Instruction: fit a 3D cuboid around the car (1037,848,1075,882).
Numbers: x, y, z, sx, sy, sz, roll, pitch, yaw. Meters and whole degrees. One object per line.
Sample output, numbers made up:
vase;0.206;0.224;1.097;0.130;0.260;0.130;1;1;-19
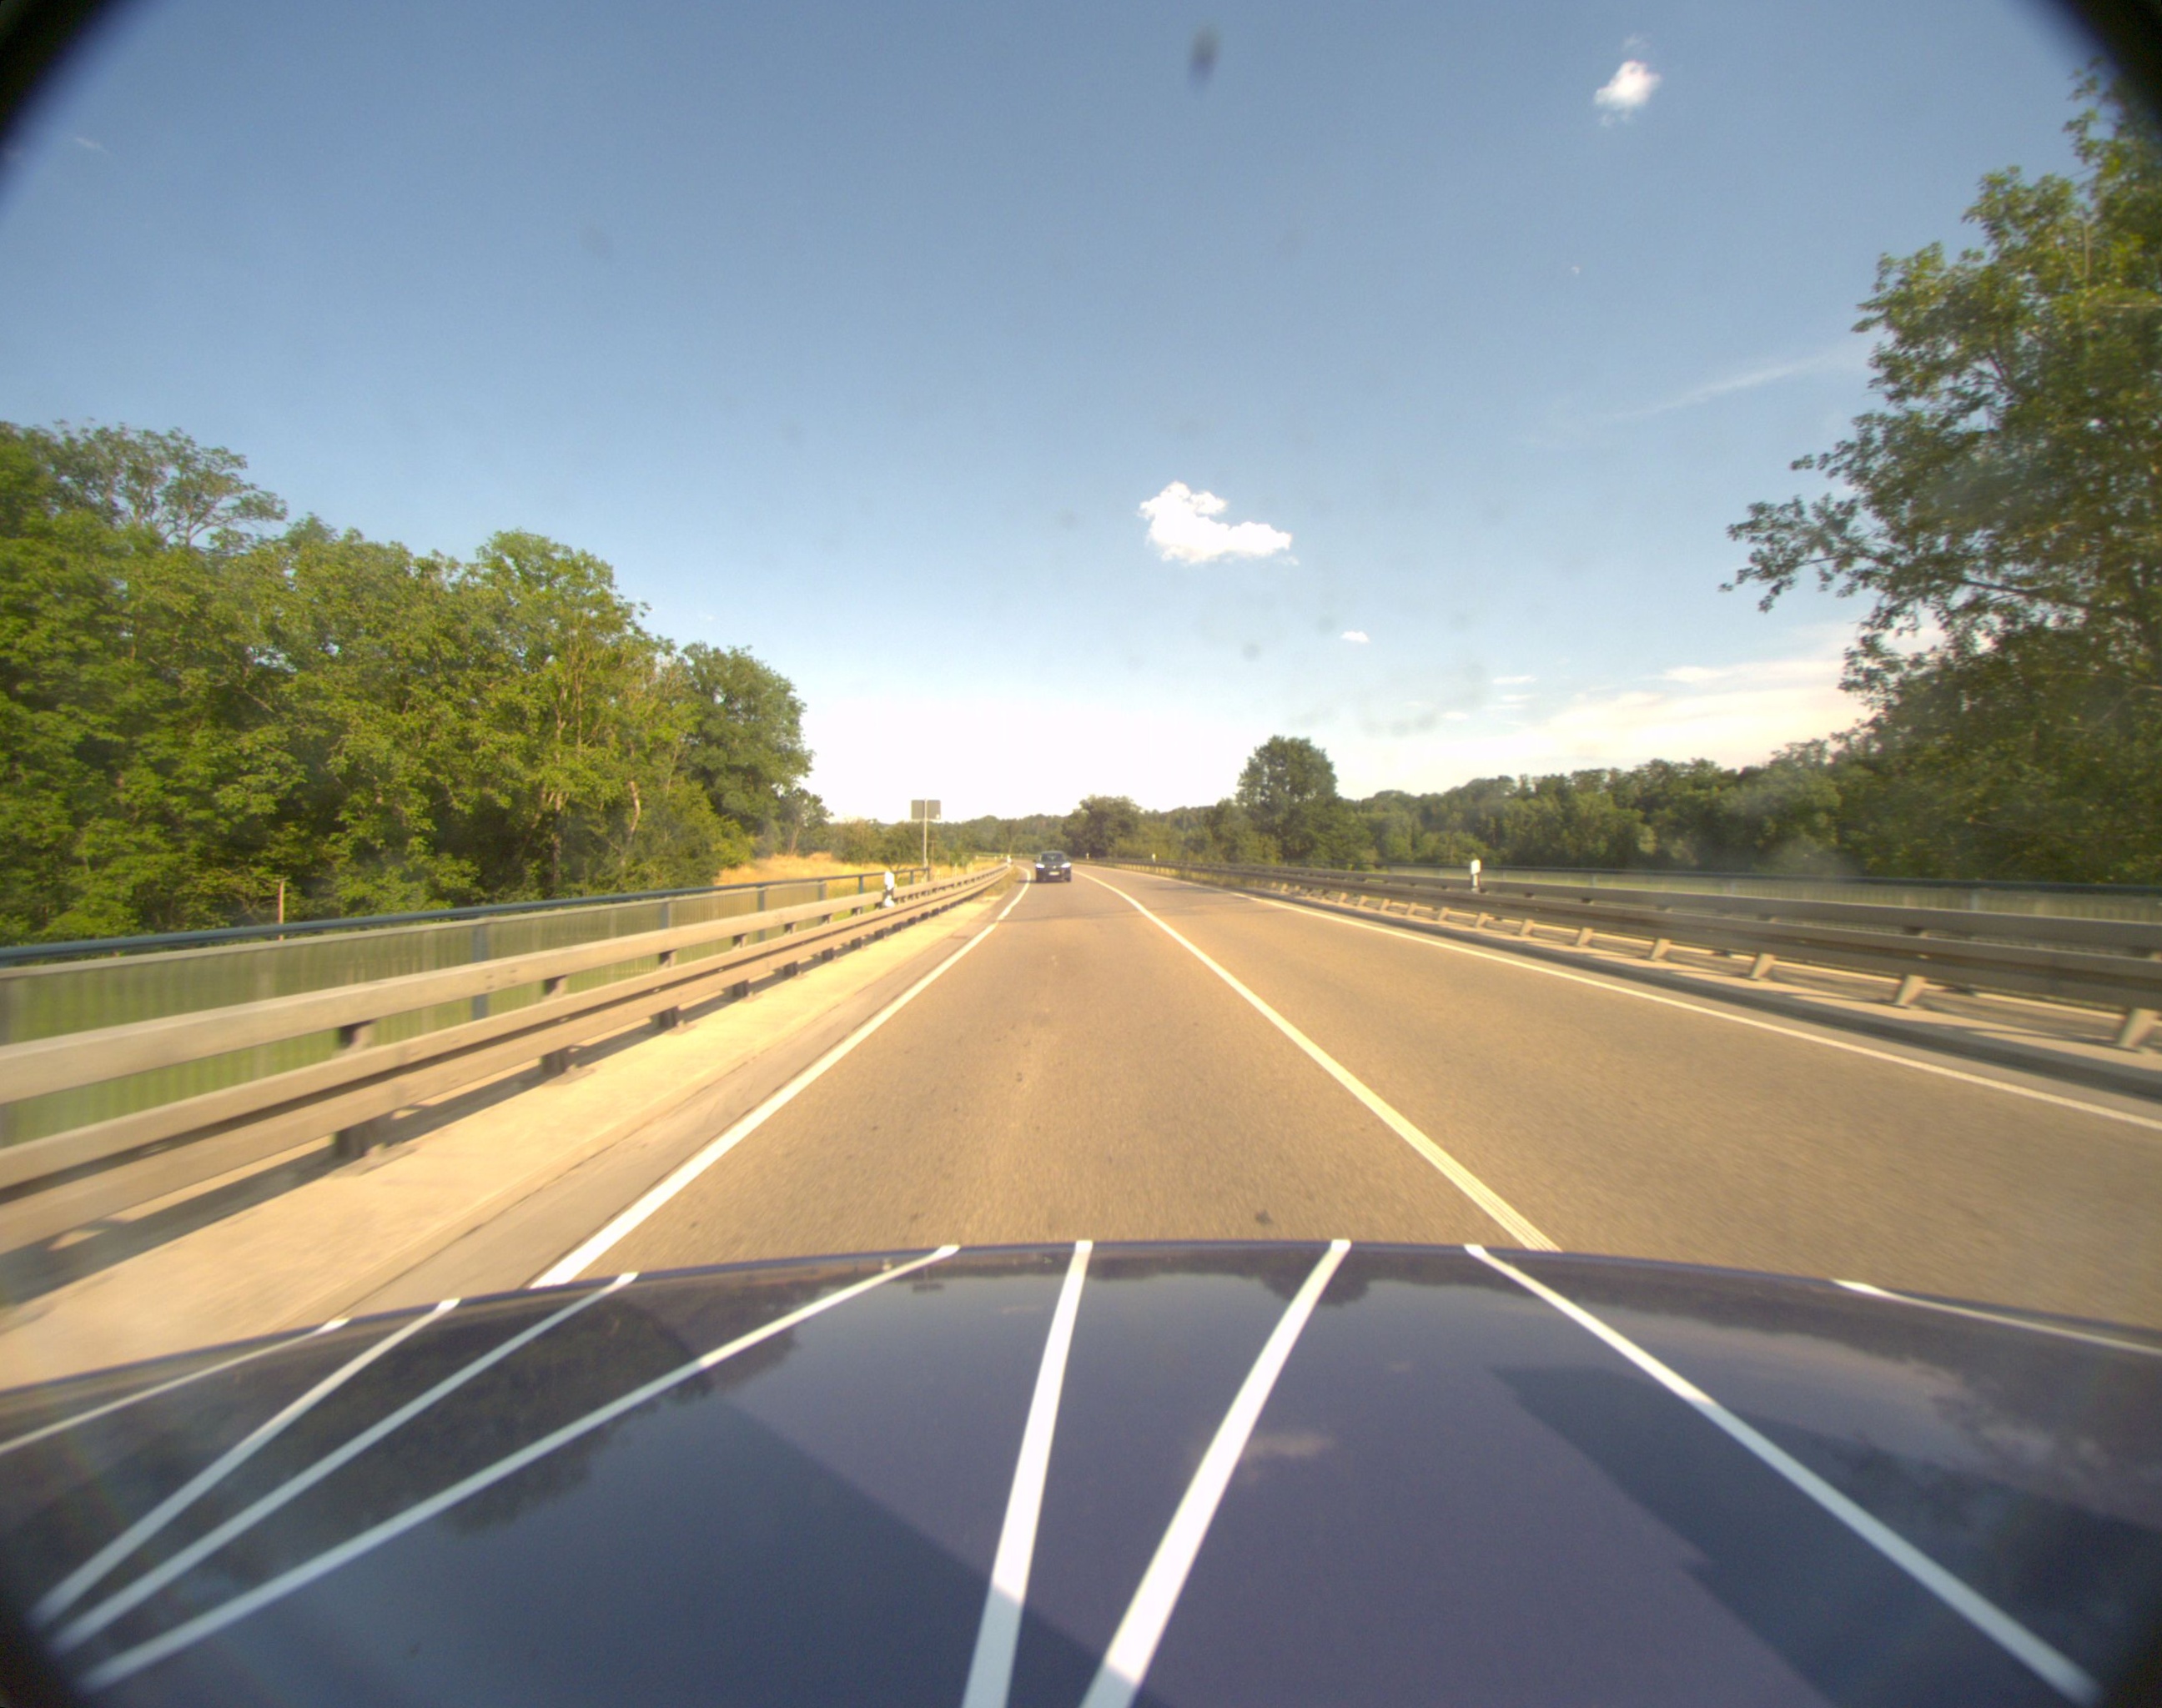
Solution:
car;-1.398;0.551;40.852;1.752;1.645;4.303;-2;1;-5
